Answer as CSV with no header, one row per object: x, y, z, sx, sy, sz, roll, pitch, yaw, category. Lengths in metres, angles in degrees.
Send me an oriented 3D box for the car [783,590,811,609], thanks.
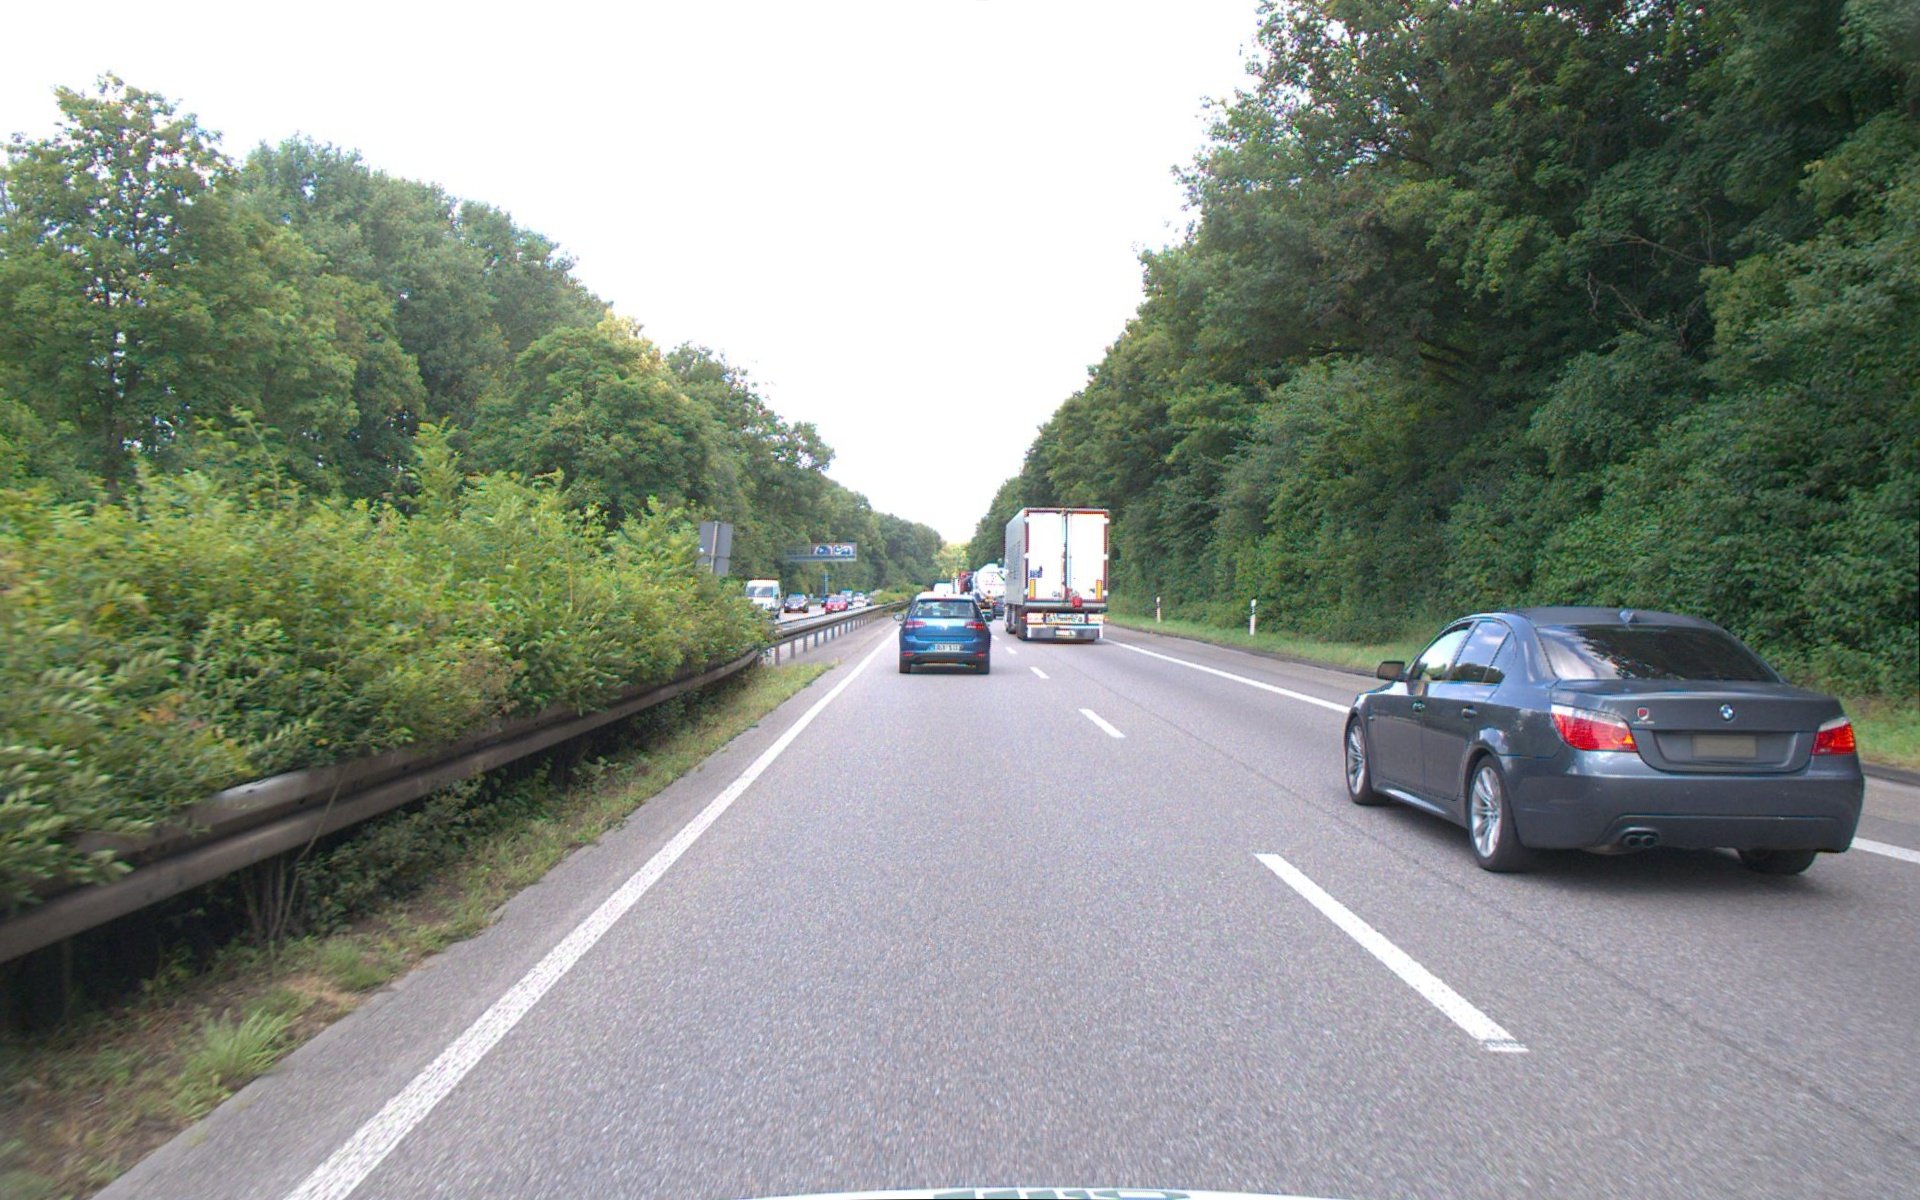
-13.360,-0.038,135.664,1.749,1.504,4.569,-1,0,0,car

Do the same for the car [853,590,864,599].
-15.886,-0.850,258.322,1.506,1.420,3.510,-1,0,-1,car

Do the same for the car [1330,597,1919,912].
3.810,0.749,10.506,1.738,1.501,4.879,0,0,-1,car

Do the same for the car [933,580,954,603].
-1.696,-0.901,172.177,1.954,2.294,4.439,-1,0,-3,car

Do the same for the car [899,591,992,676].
-0.294,0.596,31.872,1.670,1.495,3.999,0,0,-1,car

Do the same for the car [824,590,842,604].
-13.772,-0.345,179.592,1.646,1.546,4.858,-1,0,-1,car

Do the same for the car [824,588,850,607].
-9.485,-0.194,127.513,1.644,1.480,4.127,0,0,0,car

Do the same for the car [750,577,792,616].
-12.166,-0.240,106.807,2.068,2.465,5.830,0,0,0,car

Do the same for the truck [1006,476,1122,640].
3.221,-1.305,54.353,3.175,4.798,11.008,-1,1,1,truck

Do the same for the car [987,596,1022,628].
2.522,0.674,94.491,1.850,1.759,4.000,-1,0,-1,car

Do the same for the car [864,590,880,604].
-10.149,-0.327,191.179,1.745,1.546,4.265,-1,0,-1,car

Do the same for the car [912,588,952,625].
-1.142,0.260,69.765,1.631,1.526,4.152,0,0,0,car

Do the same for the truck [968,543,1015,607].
2.216,-1.721,122.309,3.166,4.463,12.969,0,0,0,truck

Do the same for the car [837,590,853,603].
-14.453,-0.443,207.763,1.724,1.620,4.632,-1,0,-1,car

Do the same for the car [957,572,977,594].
0.747,-1.876,180.940,1.954,2.368,4.439,-1,1,-3,car
